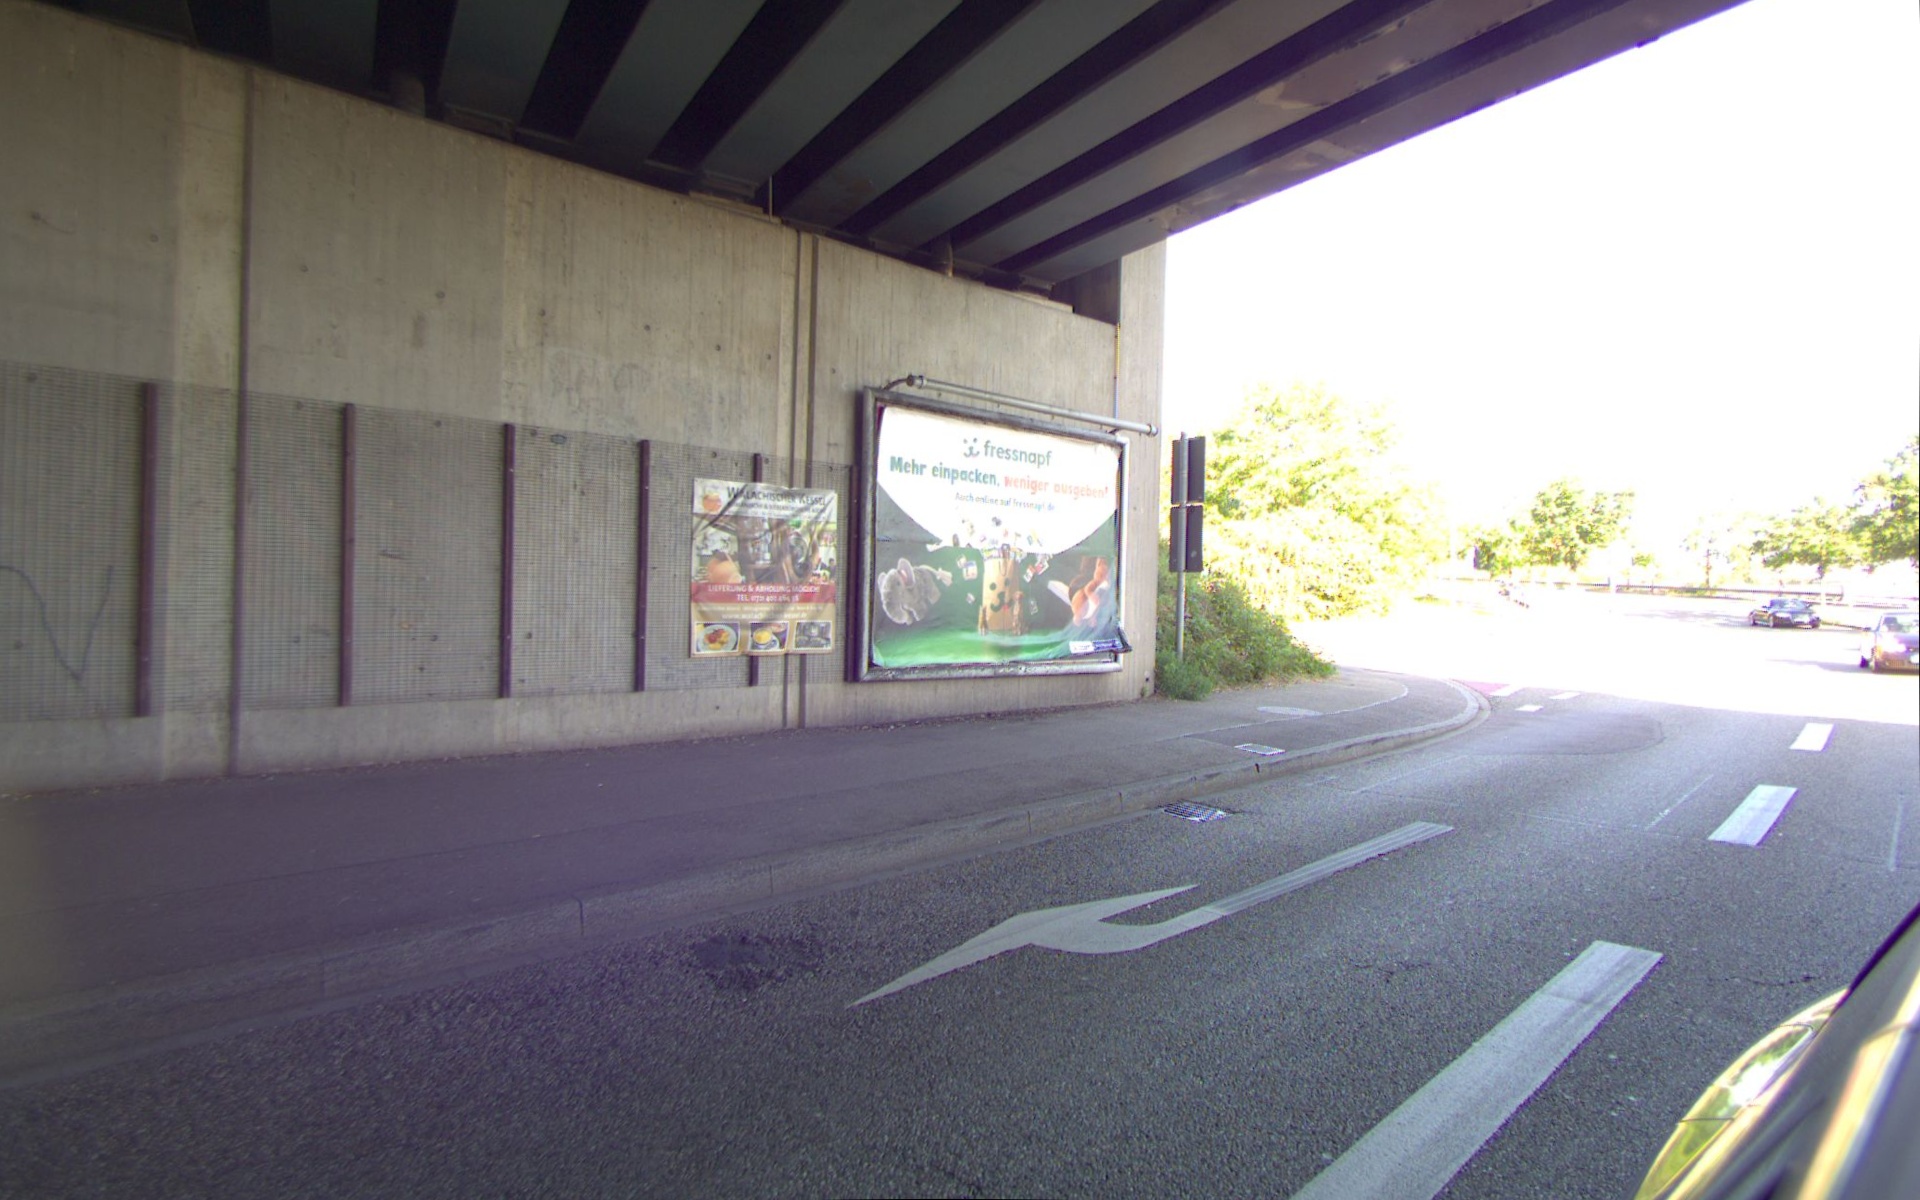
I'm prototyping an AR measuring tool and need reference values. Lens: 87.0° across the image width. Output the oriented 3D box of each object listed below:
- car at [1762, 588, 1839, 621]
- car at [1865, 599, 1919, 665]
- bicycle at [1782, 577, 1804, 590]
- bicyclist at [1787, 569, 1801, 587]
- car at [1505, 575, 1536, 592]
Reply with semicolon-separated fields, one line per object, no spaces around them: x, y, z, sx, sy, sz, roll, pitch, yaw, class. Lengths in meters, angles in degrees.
40.810;0.171;49.252;1.838;1.498;4.194;0;1;25;car
22.589;0.726;23.659;1.729;1.438;4.261;0;0;37;car
67.787;-1.349;82.389;0.584;1.036;1.746;0;1;8;bicycle
67.777;-1.785;82.283;0.583;1.445;0.707;0;0;6;bicyclist
53.745;-1.572;97.030;1.825;1.501;3.958;2;0;18;car
